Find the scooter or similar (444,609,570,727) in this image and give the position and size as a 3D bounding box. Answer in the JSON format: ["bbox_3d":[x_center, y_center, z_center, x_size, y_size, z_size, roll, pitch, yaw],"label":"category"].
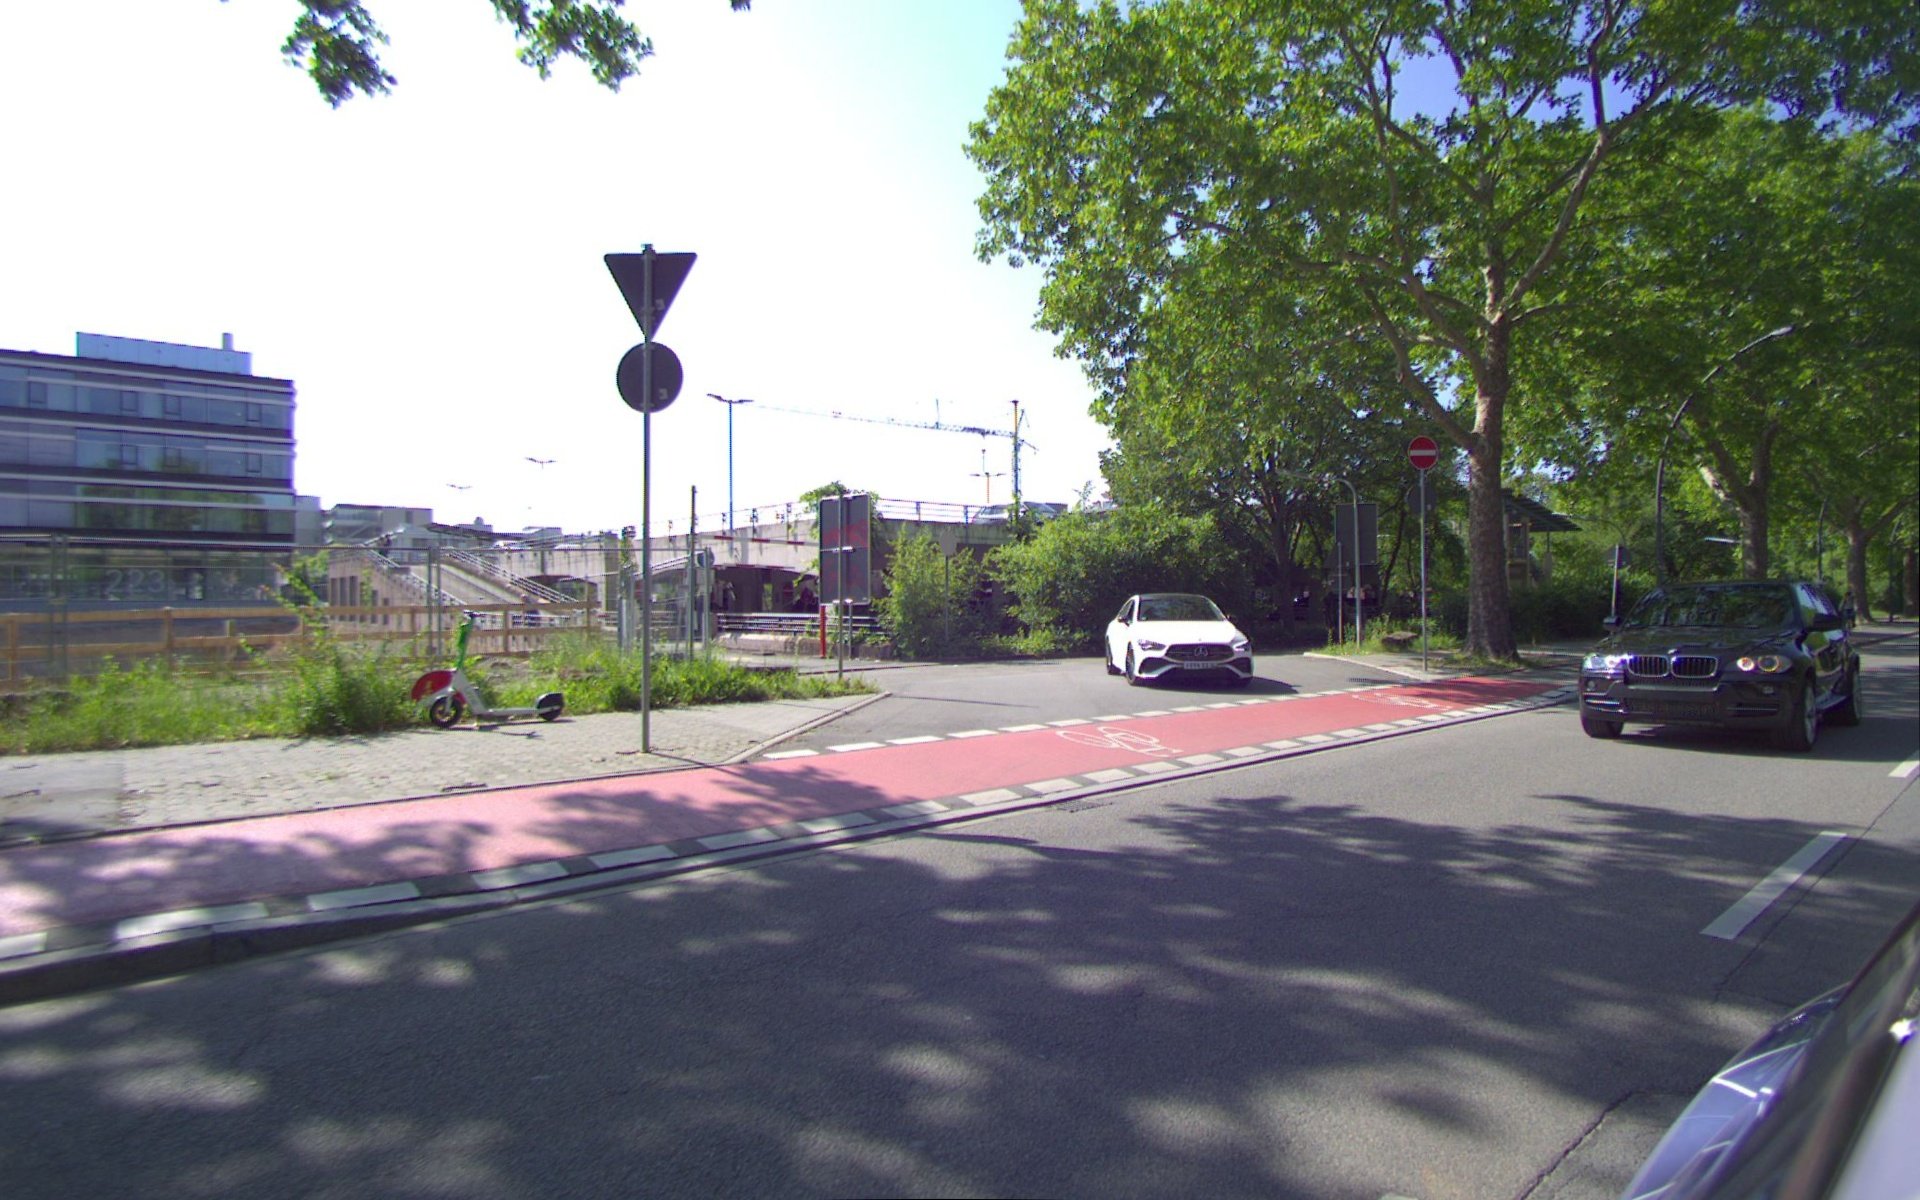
[{"bbox_3d":[-4.647,0.666,10.403,1.107,1.136,0.483,0,-1,-39],"label":"scooter or similar"}]

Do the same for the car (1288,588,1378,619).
[{"bbox_3d":[19.246,0.171,52.346,1.778,1.529,3.992,0,0,-42],"label":"car"}]

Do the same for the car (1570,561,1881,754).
[{"bbox_3d":[8.625,0.523,11.277,4.079,1.752,1.922,-1,-1,-41],"label":"car"}]

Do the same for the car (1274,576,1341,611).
[{"bbox_3d":[23.990,-0.433,69.947,1.778,2.352,3.992,0,0,-42],"label":"car"}]

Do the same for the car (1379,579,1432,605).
[{"bbox_3d":[40.545,-0.733,92.169,1.778,2.352,3.992,0,0,-42],"label":"car"}]

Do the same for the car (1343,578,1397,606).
[{"bbox_3d":[35.504,-0.663,87.691,1.778,2.352,3.992,0,0,-42],"label":"car"}]

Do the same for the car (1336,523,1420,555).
[{"bbox_3d":[23.342,-3.356,56.623,1.778,1.529,3.992,0,0,-42],"label":"car"}]

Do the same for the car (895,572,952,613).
[{"bbox_3d":[-2.532,-0.505,69.869,1.778,2.773,3.992,0,0,-42],"label":"car"}]

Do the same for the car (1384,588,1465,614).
[{"bbox_3d":[27.425,0.056,59.853,1.778,1.529,3.992,0,0,-42],"label":"car"}]

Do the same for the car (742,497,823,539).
[{"bbox_3d":[-8.018,-3.635,45.490,1.778,1.529,3.992,0,0,-42],"label":"car"}]

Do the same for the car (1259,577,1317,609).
[{"bbox_3d":[25.480,-0.524,78.705,1.778,2.352,3.992,0,0,-42],"label":"car"}]

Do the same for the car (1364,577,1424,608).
[{"bbox_3d":[33.966,-0.575,79.288,1.778,2.352,3.992,0,0,-42],"label":"car"}]

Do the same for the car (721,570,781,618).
[{"bbox_3d":[-12.494,-0.363,60.469,1.778,2.773,3.992,0,0,-42],"label":"car"}]

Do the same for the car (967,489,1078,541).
[{"bbox_3d":[2.240,-3.058,37.116,1.778,1.529,3.992,0,0,-42],"label":"car"}]

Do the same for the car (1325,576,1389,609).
[{"bbox_3d":[29.190,-0.504,74.463,1.778,2.352,3.992,0,0,-42],"label":"car"}]

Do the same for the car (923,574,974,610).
[{"bbox_3d":[-0.919,-0.594,78.322,1.778,2.773,3.992,0,0,-42],"label":"car"}]

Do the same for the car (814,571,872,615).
[{"bbox_3d":[-7.607,-0.436,65.391,1.778,2.773,3.992,0,0,-42],"label":"car"}]

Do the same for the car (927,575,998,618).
[{"bbox_3d":[0.121,-0.178,56.499,1.778,2.352,3.992,0,0,-42],"label":"car"}]

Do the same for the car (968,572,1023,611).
[{"bbox_3d":[2.607,-0.575,74.337,1.778,2.773,3.992,0,0,-42],"label":"car"}]

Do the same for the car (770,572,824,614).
[{"bbox_3d":[-11.181,-0.454,69.324,1.778,2.773,3.992,0,0,-42],"label":"car"}]

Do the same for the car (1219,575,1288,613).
[{"bbox_3d":[18.990,-0.365,65.638,1.778,2.352,3.992,0,0,-42],"label":"car"}]

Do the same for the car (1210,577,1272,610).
[{"bbox_3d":[20.502,-0.452,73.928,1.778,2.352,3.992,0,0,-42],"label":"car"}]

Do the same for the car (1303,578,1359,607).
[{"bbox_3d":[30.461,-0.593,83.153,1.778,2.352,3.992,0,0,-42],"label":"car"}]

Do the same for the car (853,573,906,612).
[{"bbox_3d":[-5.869,-0.524,73.680,1.778,2.773,3.992,0,0,-42],"label":"car"}]

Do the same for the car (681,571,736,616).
[{"bbox_3d":[-16.149,-0.386,64.939,1.778,2.773,3.992,0,0,-42],"label":"car"}]

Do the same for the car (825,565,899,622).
[{"bbox_3d":[-5.075,-0.319,52.079,1.778,2.773,3.992,0,0,-42],"label":"car"}]

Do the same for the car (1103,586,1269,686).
[{"bbox_3d":[3.526,0.523,16.550,1.861,1.426,3.998,0,0,1],"label":"car"}]
